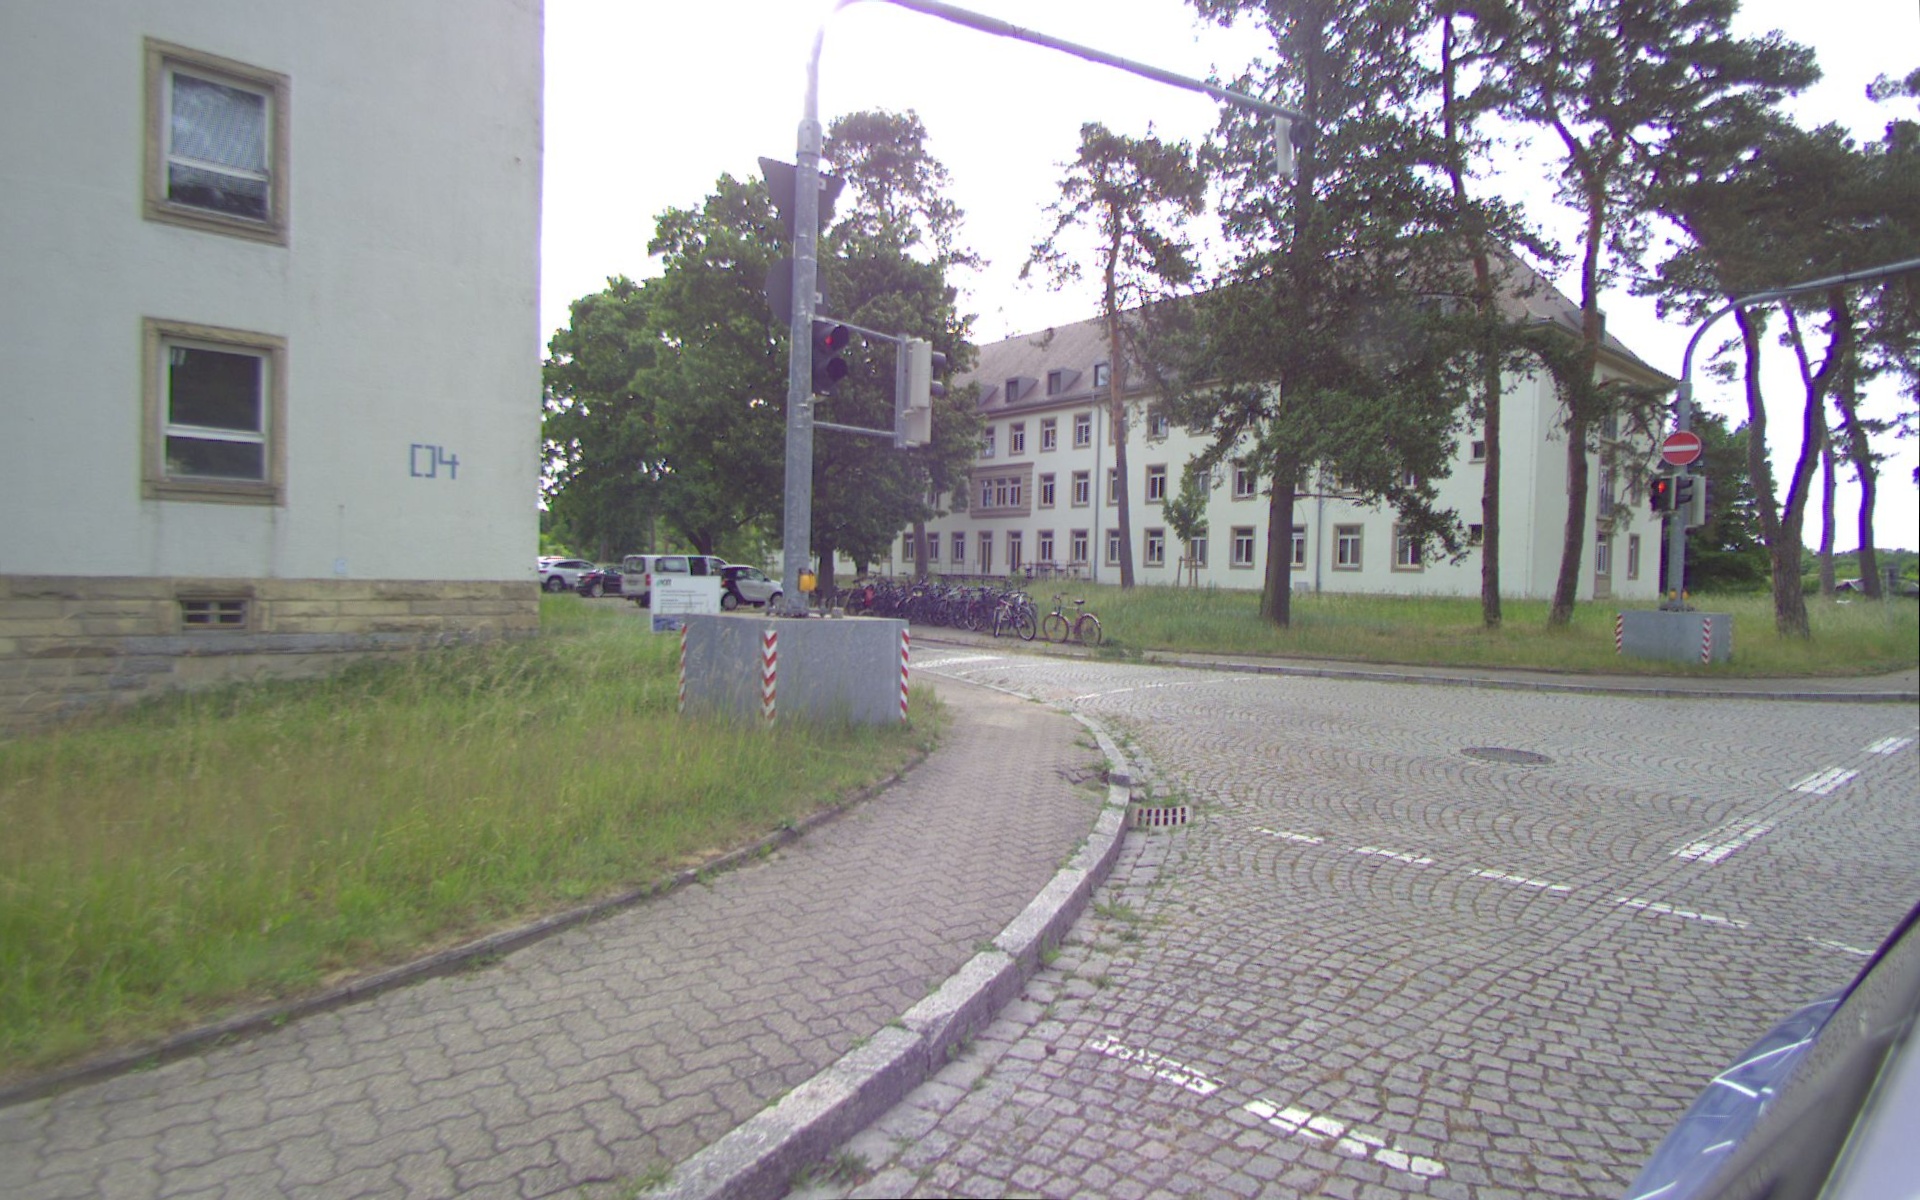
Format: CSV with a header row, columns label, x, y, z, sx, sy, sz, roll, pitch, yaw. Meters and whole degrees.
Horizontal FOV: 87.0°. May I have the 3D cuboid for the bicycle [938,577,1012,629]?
label,x,y,z,sx,sy,sz,roll,pitch,yaw
bicycle,0.395,0.078,25.768,1.954,1.263,0.623,1,0,-41

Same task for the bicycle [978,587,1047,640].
label,x,y,z,sx,sy,sz,roll,pitch,yaw
bicycle,1.146,0.288,22.538,0.612,1.096,1.678,2,1,-35

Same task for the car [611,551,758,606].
label,x,y,z,sx,sy,sz,roll,pitch,yaw
car,-10.325,-0.846,38.331,2.137,1.939,5.253,2,2,36

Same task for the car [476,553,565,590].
label,x,y,z,sx,sy,sz,roll,pitch,yaw
car,-23.041,-1.475,53.136,3.974,1.822,1.679,0,2,-41

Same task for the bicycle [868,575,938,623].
label,x,y,z,sx,sy,sz,roll,pitch,yaw
bicycle,-1.574,-0.015,28.152,1.954,1.263,0.623,1,0,-41

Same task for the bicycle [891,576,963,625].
label,x,y,z,sx,sy,sz,roll,pitch,yaw
bicycle,-0.874,0.018,27.333,1.954,1.263,0.623,1,0,-41

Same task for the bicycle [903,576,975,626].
label,x,y,z,sx,sy,sz,roll,pitch,yaw
bicycle,-0.551,0.033,26.919,1.954,1.263,0.623,1,0,-41

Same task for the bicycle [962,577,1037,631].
label,x,y,z,sx,sy,sz,roll,pitch,yaw
bicycle,0.996,0.106,25.064,1.954,1.263,0.623,1,0,-41

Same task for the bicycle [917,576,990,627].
label,x,y,z,sx,sy,sz,roll,pitch,yaw
bicycle,-0.153,0.052,26.428,1.954,1.263,0.623,1,0,-41

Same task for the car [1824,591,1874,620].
label,x,y,z,sx,sy,sz,roll,pitch,yaw
car,48.061,0.314,54.716,3.137,1.455,1.487,1,1,-38

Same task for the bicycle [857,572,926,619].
label,x,y,z,sx,sy,sz,roll,pitch,yaw
bicycle,-1.915,-0.126,28.532,1.954,1.263,0.623,1,0,-41

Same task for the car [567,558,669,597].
label,x,y,z,sx,sy,sz,roll,pitch,yaw
car,-15.165,-0.998,44.986,3.969,1.641,1.681,0,1,-37

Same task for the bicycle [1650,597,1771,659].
label,x,y,z,sx,sy,sz,roll,pitch,yaw
bicycle,13.930,0.495,18.834,0.571,0.981,1.678,-2,5,-35

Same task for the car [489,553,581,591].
label,x,y,z,sx,sy,sz,roll,pitch,yaw
car,-21.458,-1.400,51.180,3.974,1.822,1.679,0,2,-41

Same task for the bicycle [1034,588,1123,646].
label,x,y,z,sx,sy,sz,roll,pitch,yaw
bicycle,2.442,0.332,21.077,0.612,1.127,1.989,2,1,-36

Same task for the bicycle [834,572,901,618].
label,x,y,z,sx,sy,sz,roll,pitch,yaw
bicycle,-2.662,-0.169,29.409,1.955,1.263,0.623,-2,3,-41

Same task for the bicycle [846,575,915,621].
label,x,y,z,sx,sy,sz,roll,pitch,yaw
bicycle,-2.245,-0.046,28.902,1.954,1.263,0.623,1,0,-41

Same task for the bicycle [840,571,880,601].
label,x,y,z,sx,sy,sz,roll,pitch,yaw
bicycle,-3.882,-0.527,39.368,1.525,1.138,0.401,0,1,-38

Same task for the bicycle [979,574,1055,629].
label,x,y,z,sx,sy,sz,roll,pitch,yaw
bicycle,1.399,0.046,24.580,1.954,1.263,0.623,1,0,-41

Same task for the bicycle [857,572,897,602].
label,x,y,z,sx,sy,sz,roll,pitch,yaw
bicycle,-3.157,-0.488,38.372,1.525,1.138,0.401,0,1,-38

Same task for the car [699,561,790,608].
label,x,y,z,sx,sy,sz,roll,pitch,yaw
car,-7.657,-0.568,36.034,2.806,1.577,1.471,-1,4,-40

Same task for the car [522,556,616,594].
label,x,y,z,sx,sy,sz,roll,pitch,yaw
car,-18.968,-1.207,49.183,3.974,1.739,1.679,0,2,-41

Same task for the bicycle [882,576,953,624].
label,x,y,z,sx,sy,sz,roll,pitch,yaw
bicycle,-1.143,0.006,27.573,1.954,1.263,0.623,1,0,-41
